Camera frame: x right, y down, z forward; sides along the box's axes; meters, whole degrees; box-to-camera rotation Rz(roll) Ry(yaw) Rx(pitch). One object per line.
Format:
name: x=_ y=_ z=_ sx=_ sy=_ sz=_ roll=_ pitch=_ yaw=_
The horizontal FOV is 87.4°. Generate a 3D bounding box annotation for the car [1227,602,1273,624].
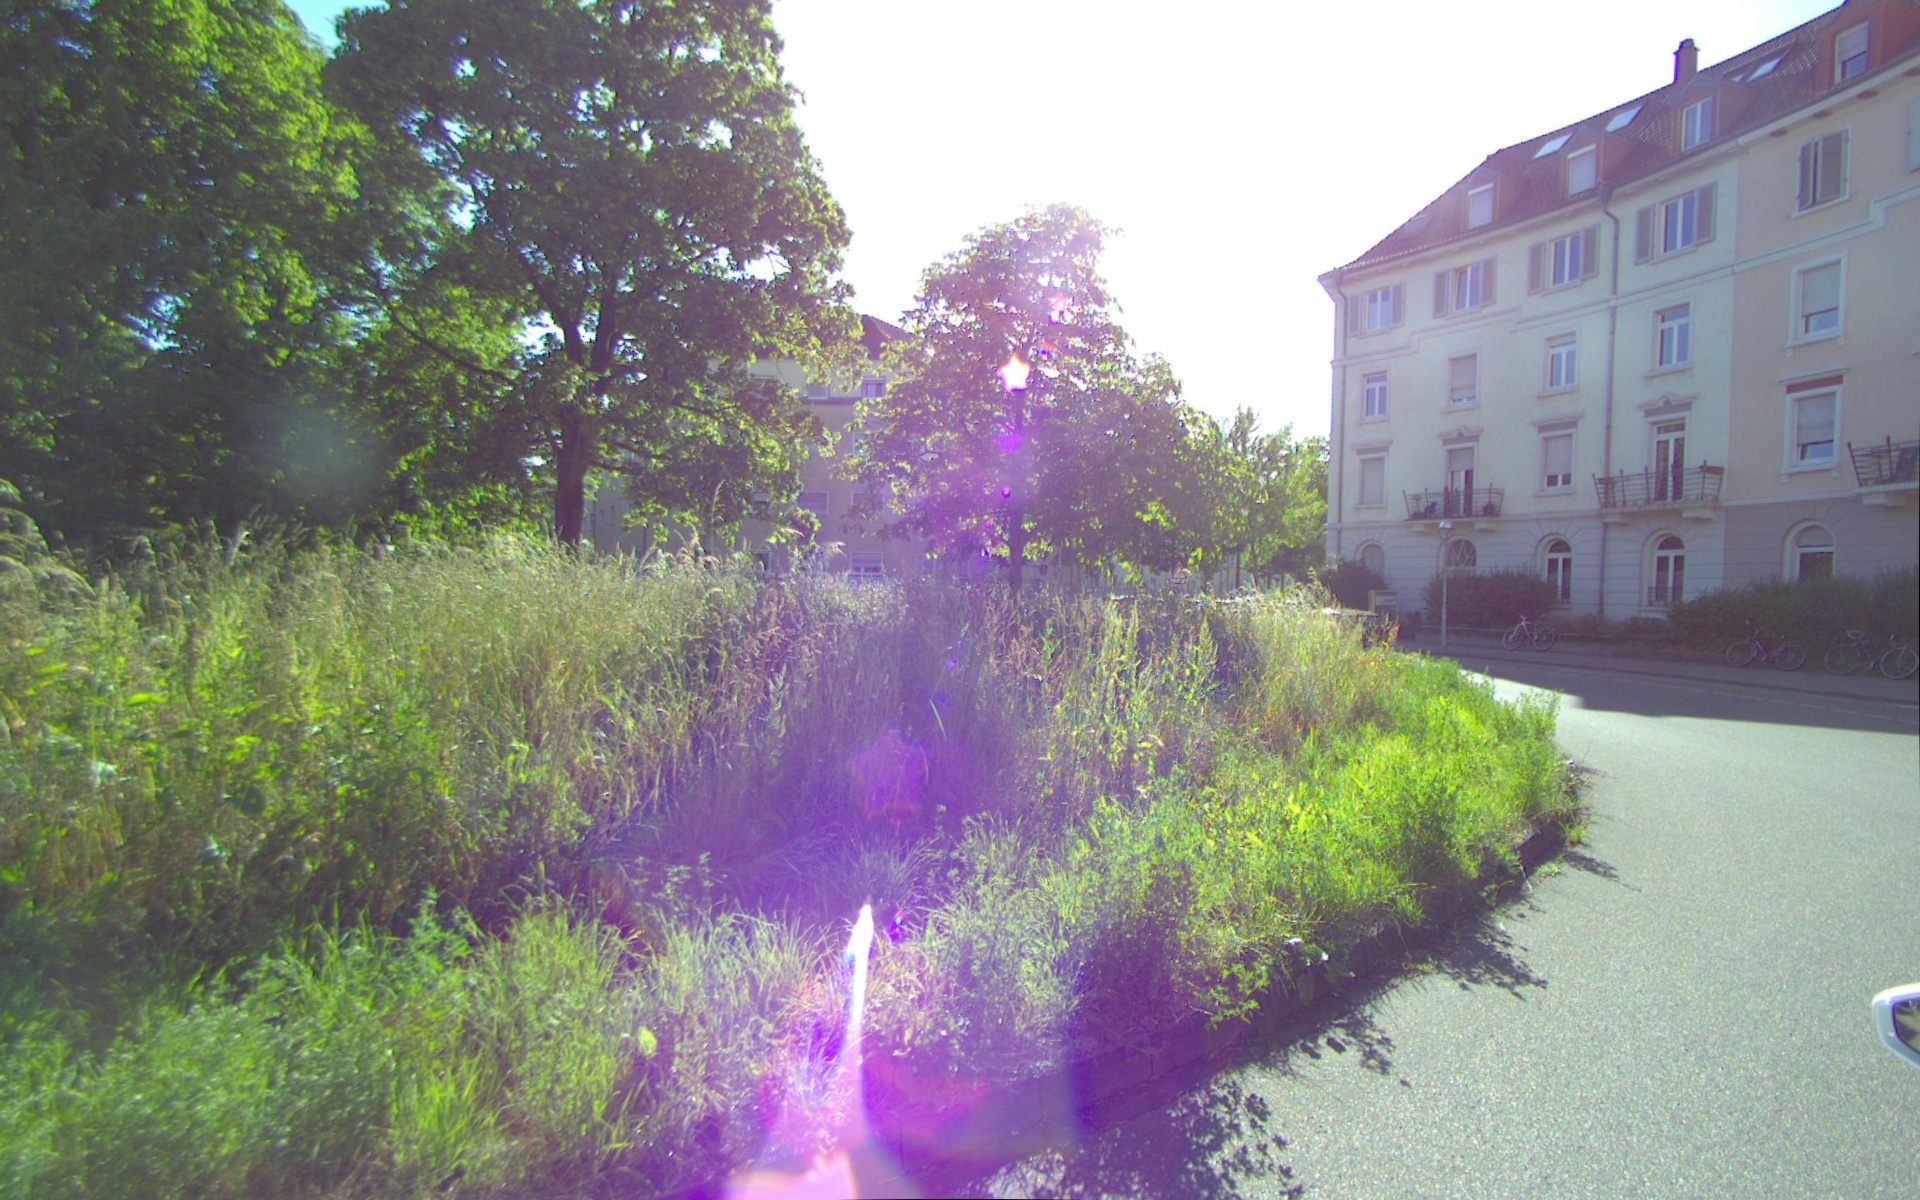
car: x=17.363 y=0.753 z=60.074 sx=1.768 sy=1.272 sz=3.712 roll=1 pitch=0 yaw=30

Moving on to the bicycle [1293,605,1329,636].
bicycle: x=13.555 y=0.768 z=38.826 sx=0.491 sy=1.122 sz=1.797 roll=0 pitch=1 yaw=-9

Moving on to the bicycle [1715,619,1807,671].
bicycle: x=18.531 y=1.012 z=23.281 sx=0.494 sy=1.103 sz=1.680 roll=-1 pitch=1 yaw=-17

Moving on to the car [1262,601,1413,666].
car: x=9.584 y=0.807 z=25.873 sx=1.837 sy=1.438 sz=3.992 roll=1 pitch=1 yaw=-11

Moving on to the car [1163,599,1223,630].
car: x=11.754 y=0.722 z=50.462 sx=1.768 sy=1.432 sz=3.991 roll=2 pitch=0 yaw=31

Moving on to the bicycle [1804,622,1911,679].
bicycle: x=18.942 y=1.038 z=21.239 sx=0.494 sy=1.103 sz=1.680 roll=-1 pitch=1 yaw=-17

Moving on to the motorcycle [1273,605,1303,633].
motorcycle: x=14.358 y=0.814 z=43.900 sx=0.873 sy=1.207 sz=1.486 roll=-1 pitch=0 yaw=33

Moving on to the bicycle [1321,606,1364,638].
bicycle: x=14.062 y=0.804 z=36.976 sx=0.492 sy=1.122 sz=1.794 roll=0 pitch=1 yaw=-15

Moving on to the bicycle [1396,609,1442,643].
bicycle: x=15.734 y=0.879 z=34.398 sx=1.660 sy=1.122 sz=0.497 roll=0 pitch=1 yaw=-27

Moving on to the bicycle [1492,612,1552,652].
bicycle: x=16.509 y=0.936 z=29.557 sx=0.494 sy=1.103 sz=1.681 roll=-1 pitch=1 yaw=-15

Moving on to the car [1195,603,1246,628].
car: x=14.089 y=0.807 z=54.250 sx=1.768 sy=1.272 sz=3.712 roll=1 pitch=0 yaw=30

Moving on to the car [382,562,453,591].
car: x=-40.658 y=-1.741 z=75.342 sx=4.114 sy=2.014 sz=2.174 roll=1 pitch=0 yaw=6
